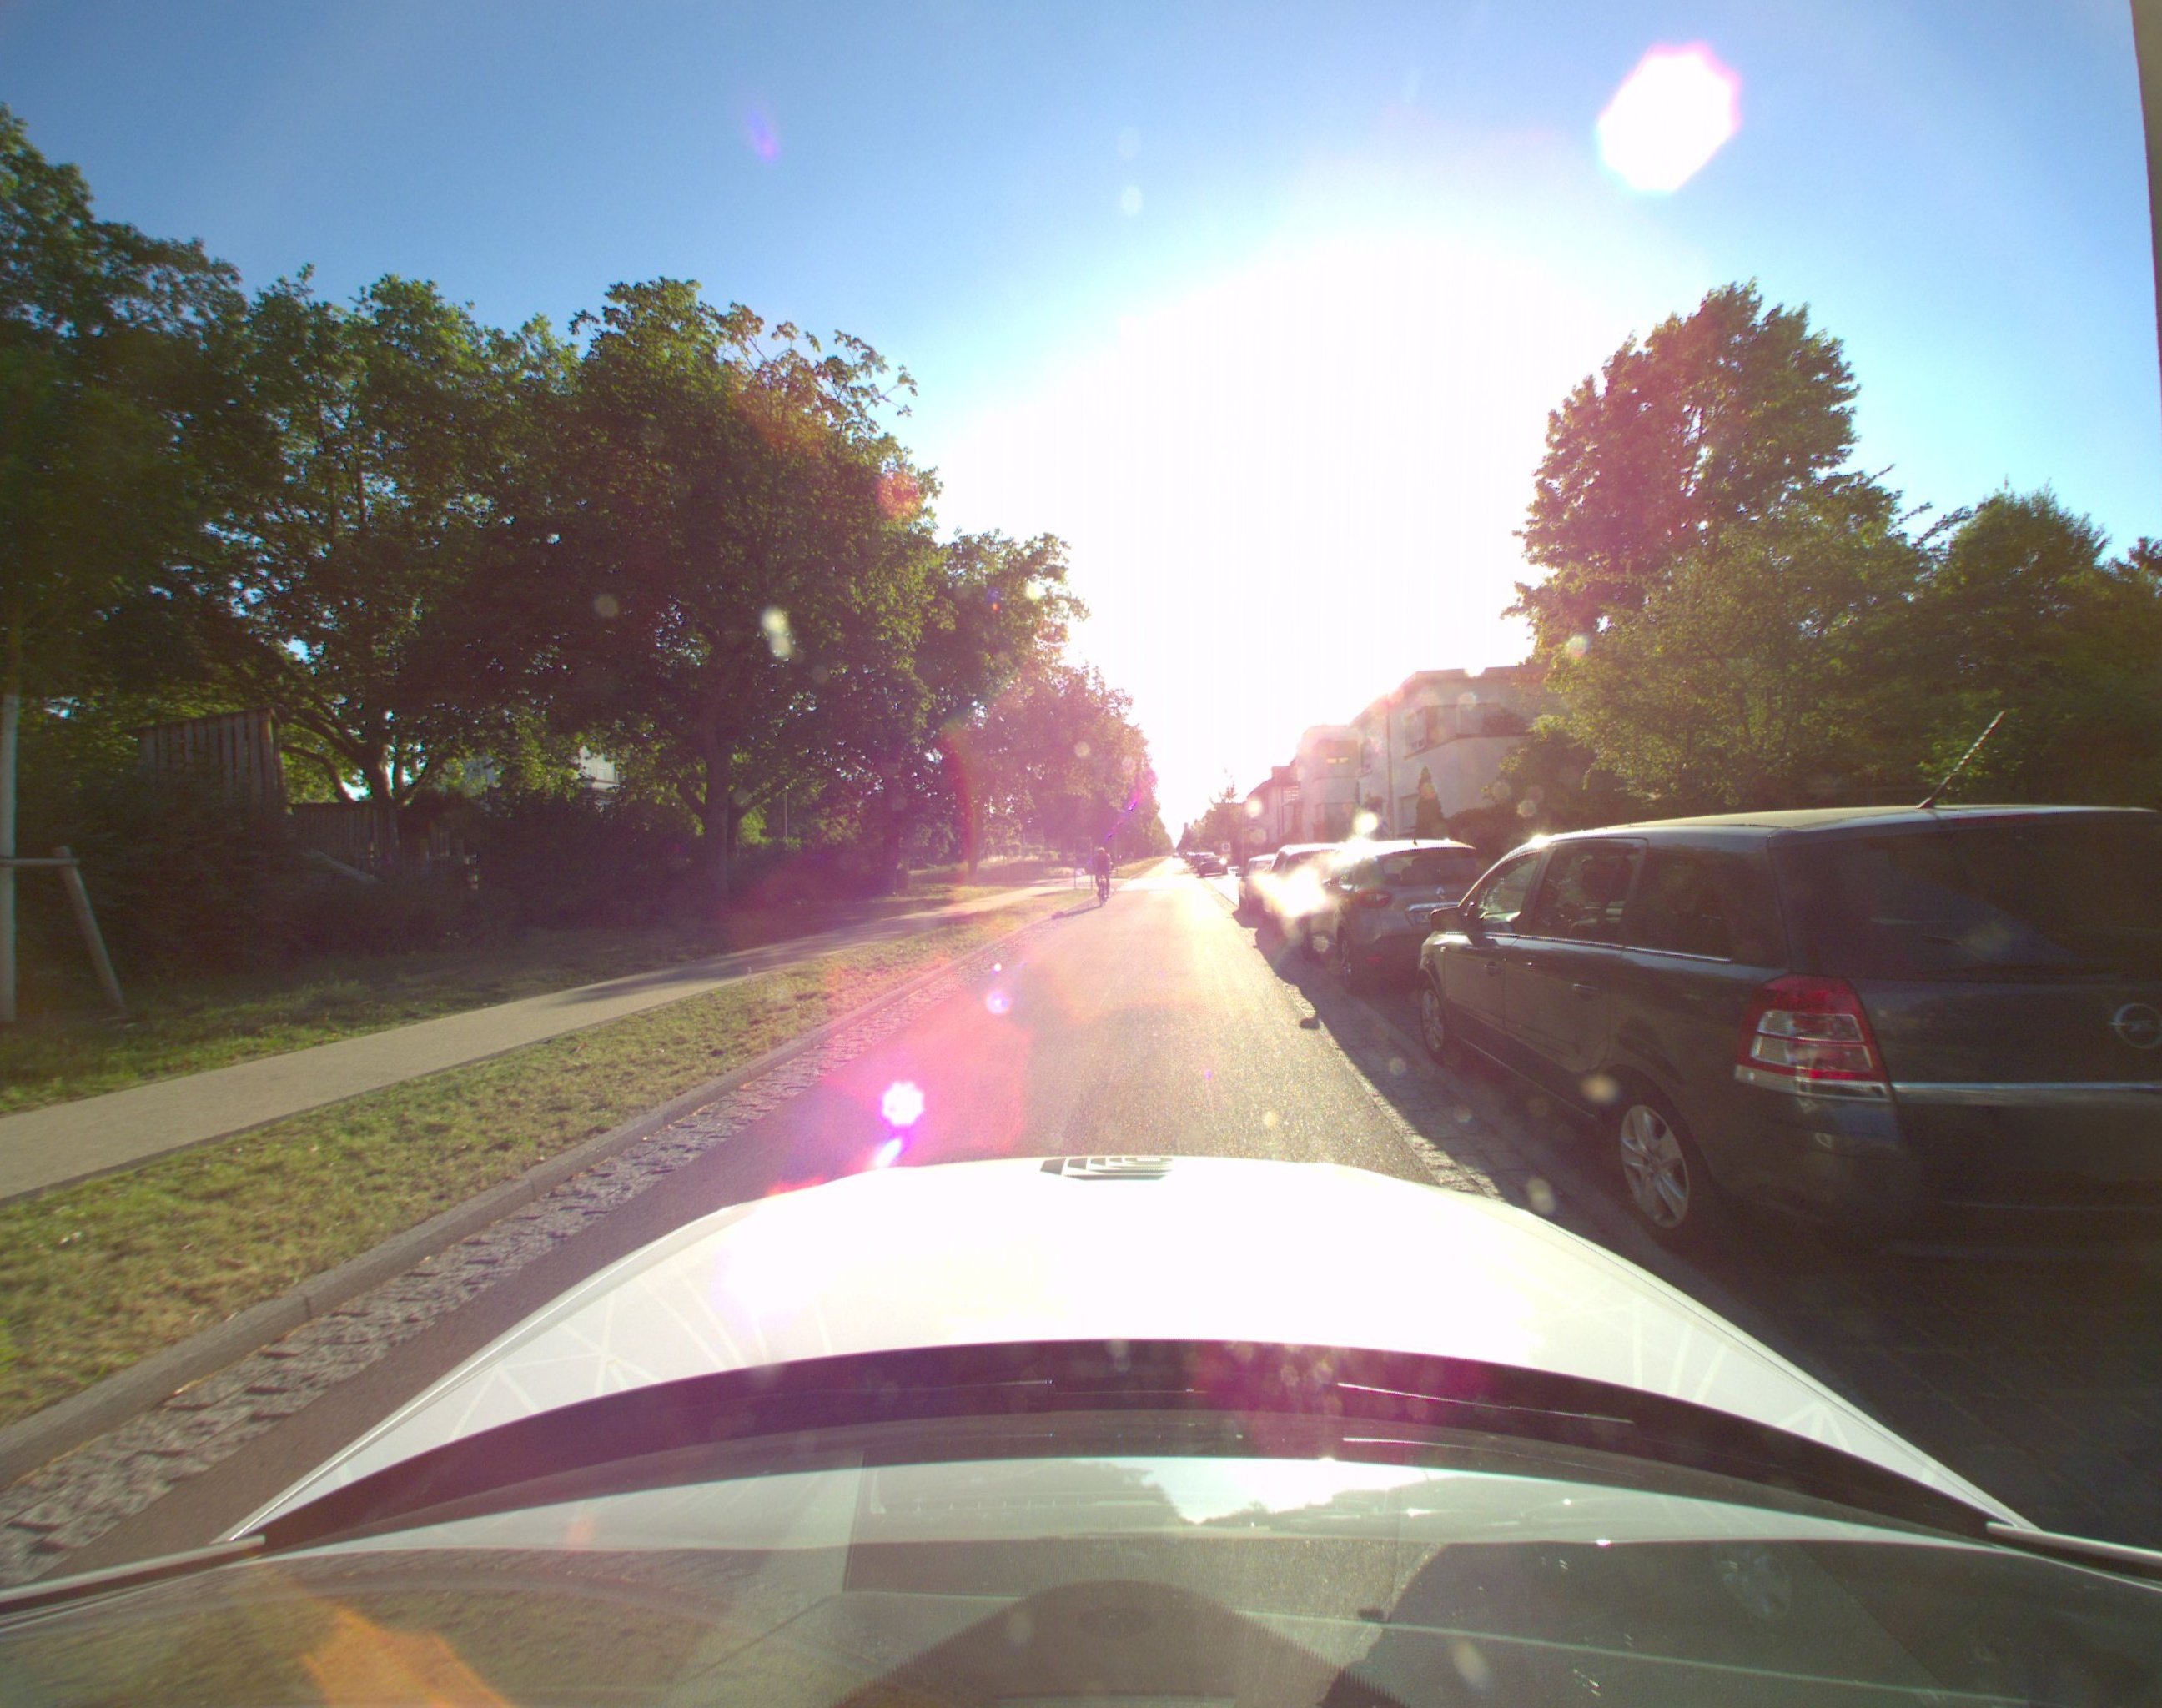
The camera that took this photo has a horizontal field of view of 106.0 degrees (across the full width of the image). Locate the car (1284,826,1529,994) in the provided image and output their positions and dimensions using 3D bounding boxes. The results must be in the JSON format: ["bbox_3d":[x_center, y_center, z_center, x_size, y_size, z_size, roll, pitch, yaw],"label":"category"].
[{"bbox_3d":[3.672,0.548,9.990,1.670,1.555,4.151,-3,0,6],"label":"car"}]

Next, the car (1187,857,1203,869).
[{"bbox_3d":[14.699,1.210,105.034,1.728,1.449,4.203,-3,-1,5],"label":"car"}]

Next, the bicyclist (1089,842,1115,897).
[{"bbox_3d":[0.669,0.479,25.548,0.678,1.673,1.174,-2,-1,6],"label":"bicyclist"}]

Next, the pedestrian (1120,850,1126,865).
[{"bbox_3d":[5.386,0.445,104.059,0.620,1.831,0.888,-1,0,10],"label":"pedestrian"}]

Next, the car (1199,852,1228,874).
[{"bbox_3d":[9.354,0.615,57.741,1.765,1.288,4.281,-4,0,7],"label":"car"}]

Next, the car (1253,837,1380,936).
[{"bbox_3d":[4.301,0.537,15.469,1.669,1.555,4.139,-3,0,8],"label":"car"}]

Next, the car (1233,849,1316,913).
[{"bbox_3d":[4.867,0.625,20.964,1.555,1.390,4.383,-3,0,7],"label":"car"}]

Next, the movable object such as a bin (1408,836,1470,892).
[{"bbox_3d":[9.472,0.270,21.574,1.230,1.432,1.126,-1,0,8],"label":"movable object such as a bin"}]

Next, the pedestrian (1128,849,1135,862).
[{"bbox_3d":[6.448,0.190,104.251,0.778,1.614,0.954,-1,0,10],"label":"pedestrian"}]

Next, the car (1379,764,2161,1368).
[{"bbox_3d":[3.042,0.561,4.271,1.702,1.610,4.175,-4,0,5],"label":"car"}]

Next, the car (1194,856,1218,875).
[{"bbox_3d":[10.540,0.939,68.995,1.736,1.474,3.928,-4,0,6],"label":"car"}]

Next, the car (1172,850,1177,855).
[{"bbox_3d":[28.509,-0.332,247.721,1.643,1.541,3.273,0,0,7],"label":"car"}]

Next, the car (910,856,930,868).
[{"bbox_3d":[-23.576,1.136,119.190,1.684,1.597,4.228,-1,0,6],"label":"car"}]

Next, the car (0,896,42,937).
[{"bbox_3d":[-38.628,2.219,27.716,1.513,1.367,3.761,-1,0,8],"label":"car"}]

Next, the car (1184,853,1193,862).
[{"bbox_3d":[20.709,0.706,156.720,1.490,1.567,3.273,-2,0,8],"label":"car"}]

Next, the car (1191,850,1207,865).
[{"bbox_3d":[12.887,0.391,88.958,1.619,1.504,3.641,-3,0,7],"label":"car"}]

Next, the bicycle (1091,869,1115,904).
[{"bbox_3d":[0.706,0.993,25.596,0.553,1.032,1.918,-2,-1,6],"label":"bicycle"}]
